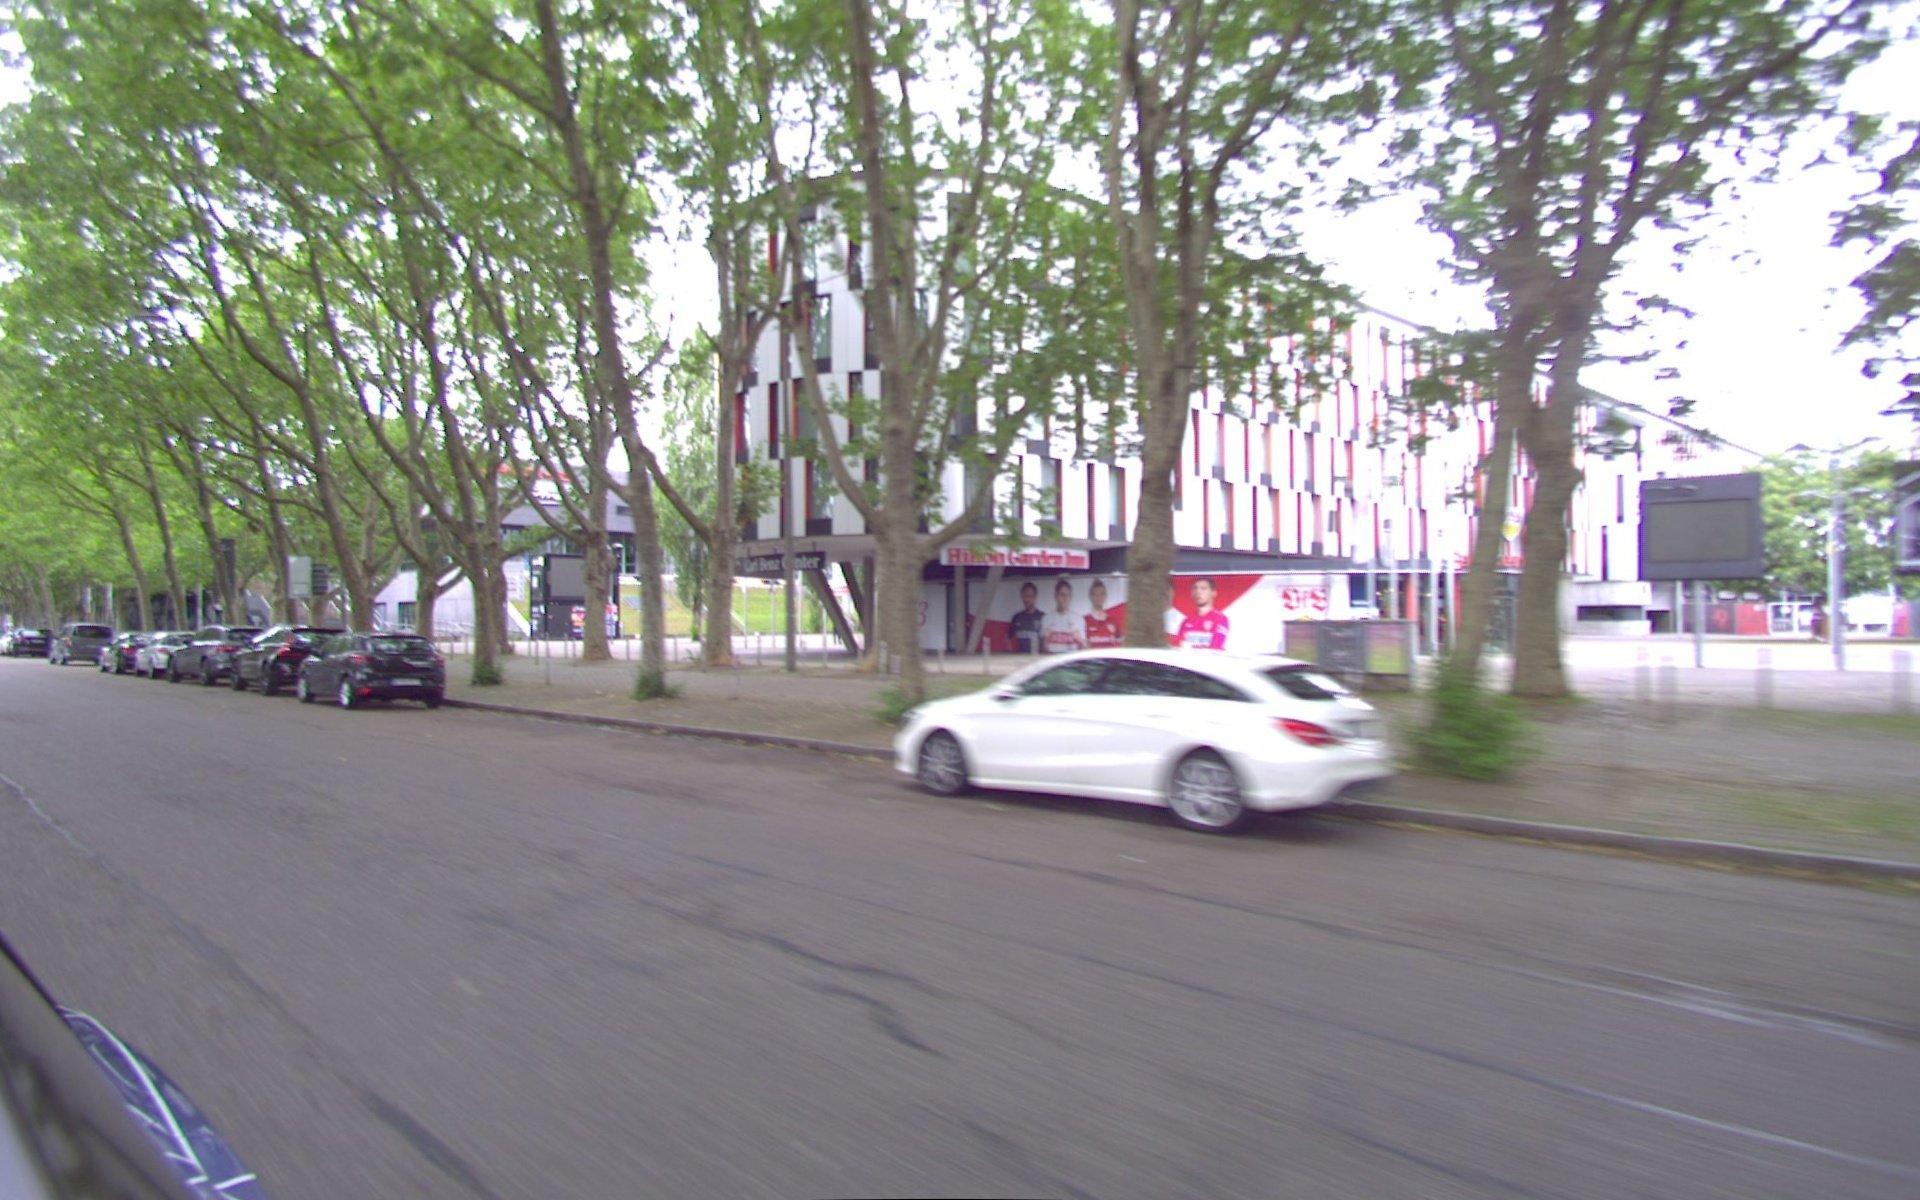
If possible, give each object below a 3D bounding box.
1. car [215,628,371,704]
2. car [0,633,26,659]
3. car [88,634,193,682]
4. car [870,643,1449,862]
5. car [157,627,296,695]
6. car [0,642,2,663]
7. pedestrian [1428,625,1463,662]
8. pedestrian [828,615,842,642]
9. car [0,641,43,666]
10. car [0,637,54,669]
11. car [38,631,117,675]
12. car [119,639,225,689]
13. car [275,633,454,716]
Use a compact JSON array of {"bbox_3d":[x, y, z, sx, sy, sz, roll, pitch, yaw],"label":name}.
[{"bbox_3d":[-16.130,1.565,24.375,4.927,1.656,1.916,-2,-5,42],"label":"car"},{"bbox_3d":[-58.475,2.785,61.476,4.987,1.496,1.802,-2,-3,38],"label":"car"},{"bbox_3d":[-28.497,1.999,35.123,5.144,1.542,2.061,-3,-4,43],"label":"car"},{"bbox_3d":[1.537,1.136,8.993,4.749,1.413,1.884,-2,-5,41],"label":"car"},{"bbox_3d":[-20.350,1.664,28.022,4.642,1.731,1.851,-2,-5,38],"label":"car"},{"bbox_3d":[-66.871,3.561,69.046,4.328,1.392,1.690,-2,-6,41],"label":"car"},{"bbox_3d":[20.182,1.794,42.051,1.109,1.473,1.034,-2,-2,39],"label":"pedestrian"},{"bbox_3d":[-8.031,1.817,65.005,0.693,1.703,0.636,-2,-2,43],"label":"pedestrian"},{"bbox_3d":[-53.880,3.040,57.595,5.001,1.373,1.797,-2,-4,40],"label":"car"},{"bbox_3d":[-49.613,2.785,53.750,4.345,1.606,1.797,-2,-5,43],"label":"car"},{"bbox_3d":[-38.508,2.278,44.105,4.610,1.809,1.876,-2,-5,41],"label":"car"},{"bbox_3d":[-24.759,1.987,31.755,4.228,1.467,1.814,-2,-5,41],"label":"car"},{"bbox_3d":[-12.228,1.481,20.666,4.441,1.506,1.814,-2,-5,42],"label":"car"}]
